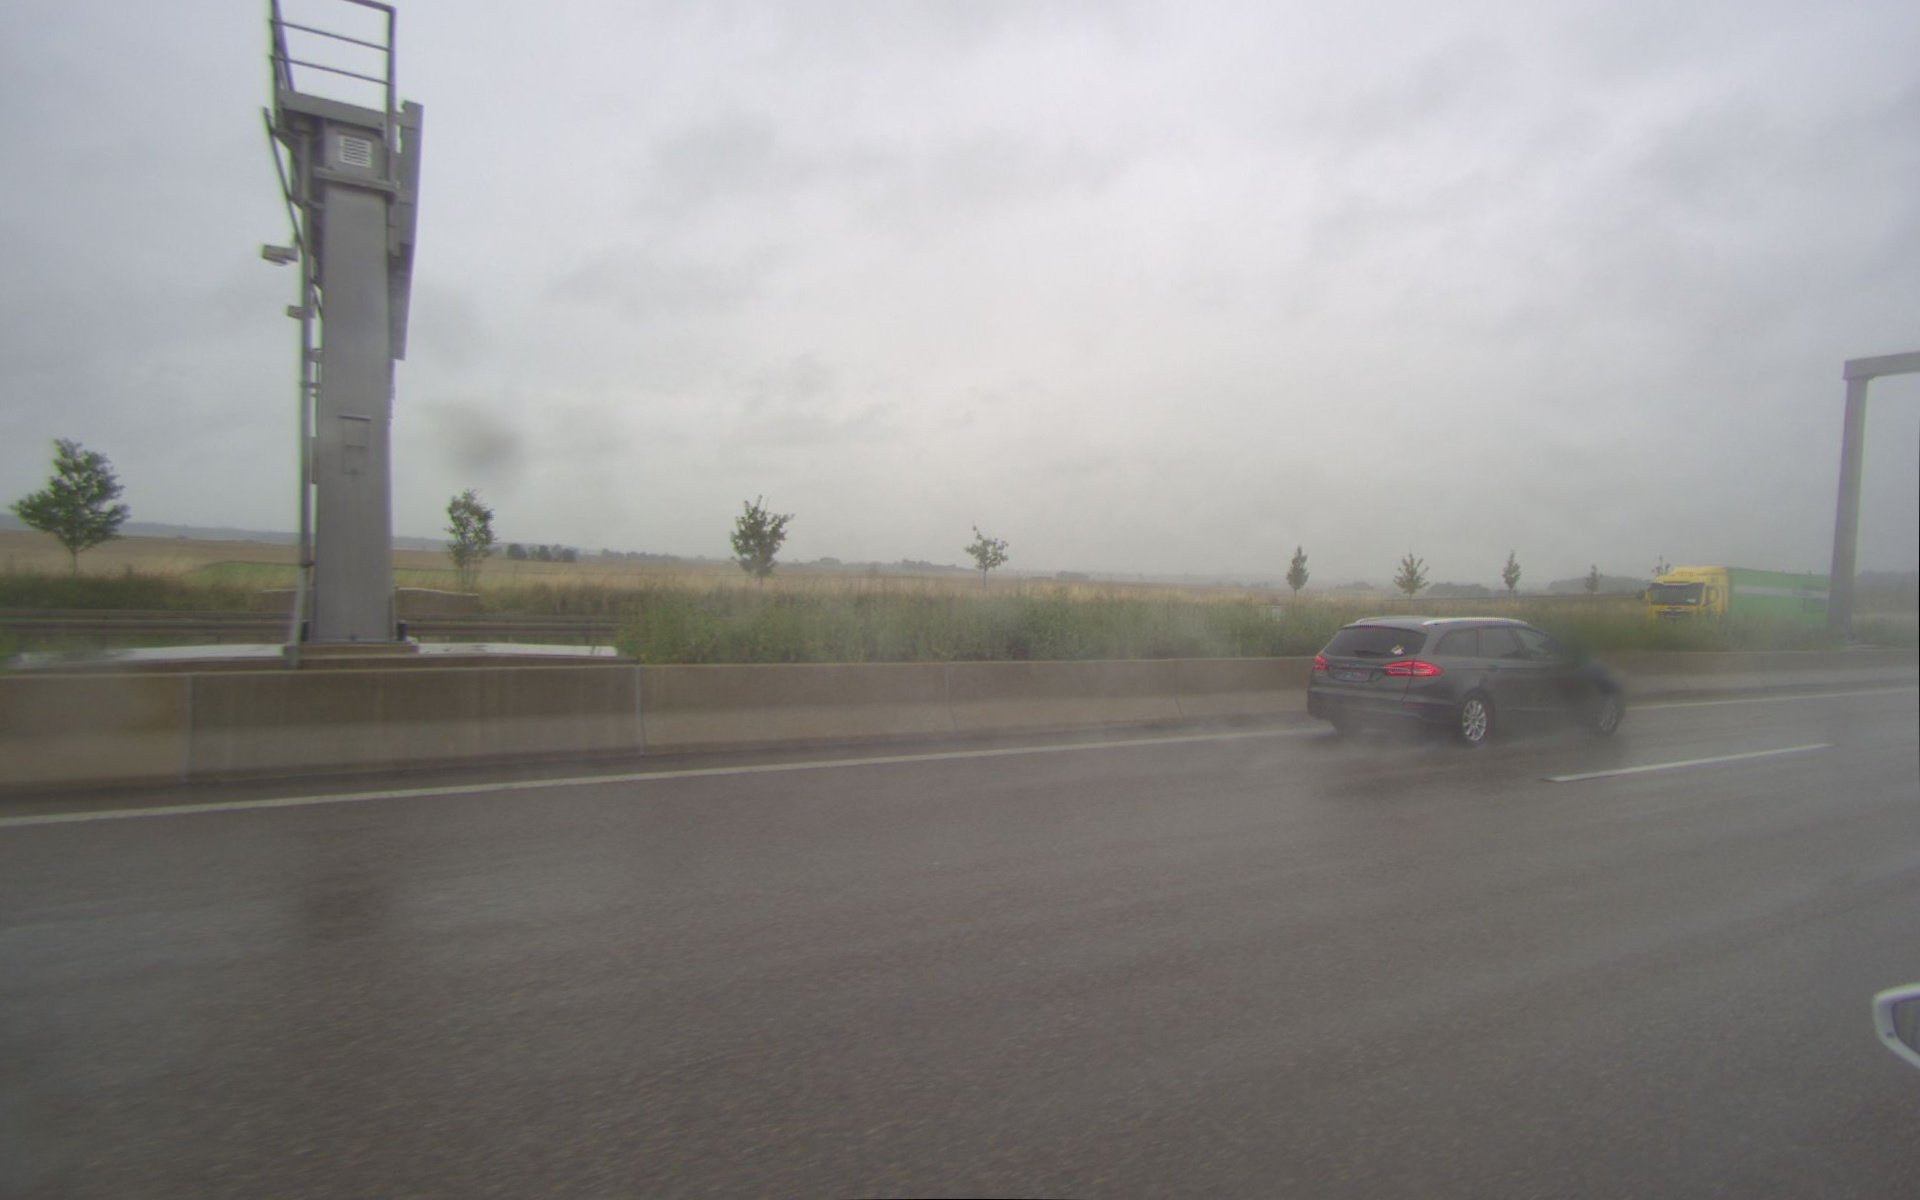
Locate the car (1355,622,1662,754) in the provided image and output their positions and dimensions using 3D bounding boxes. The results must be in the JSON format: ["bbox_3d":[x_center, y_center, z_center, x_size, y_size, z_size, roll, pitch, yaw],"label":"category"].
[{"bbox_3d":[6.878,1.000,12.496,3.955,1.372,1.604,1,0,-32],"label":"car"}]

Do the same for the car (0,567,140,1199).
[{"bbox_3d":[-4.520,0.627,1.605,4.702,1.533,1.837,1,0,-31],"label":"car"}]

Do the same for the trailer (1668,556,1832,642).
[{"bbox_3d":[41.328,0.101,52.240,14.142,4.094,1.983,1,0,-32],"label":"trailer"}]

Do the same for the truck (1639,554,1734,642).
[{"bbox_3d":[34.931,-0.039,48.252,4.765,4.044,1.999,1,0,-32],"label":"truck"}]
